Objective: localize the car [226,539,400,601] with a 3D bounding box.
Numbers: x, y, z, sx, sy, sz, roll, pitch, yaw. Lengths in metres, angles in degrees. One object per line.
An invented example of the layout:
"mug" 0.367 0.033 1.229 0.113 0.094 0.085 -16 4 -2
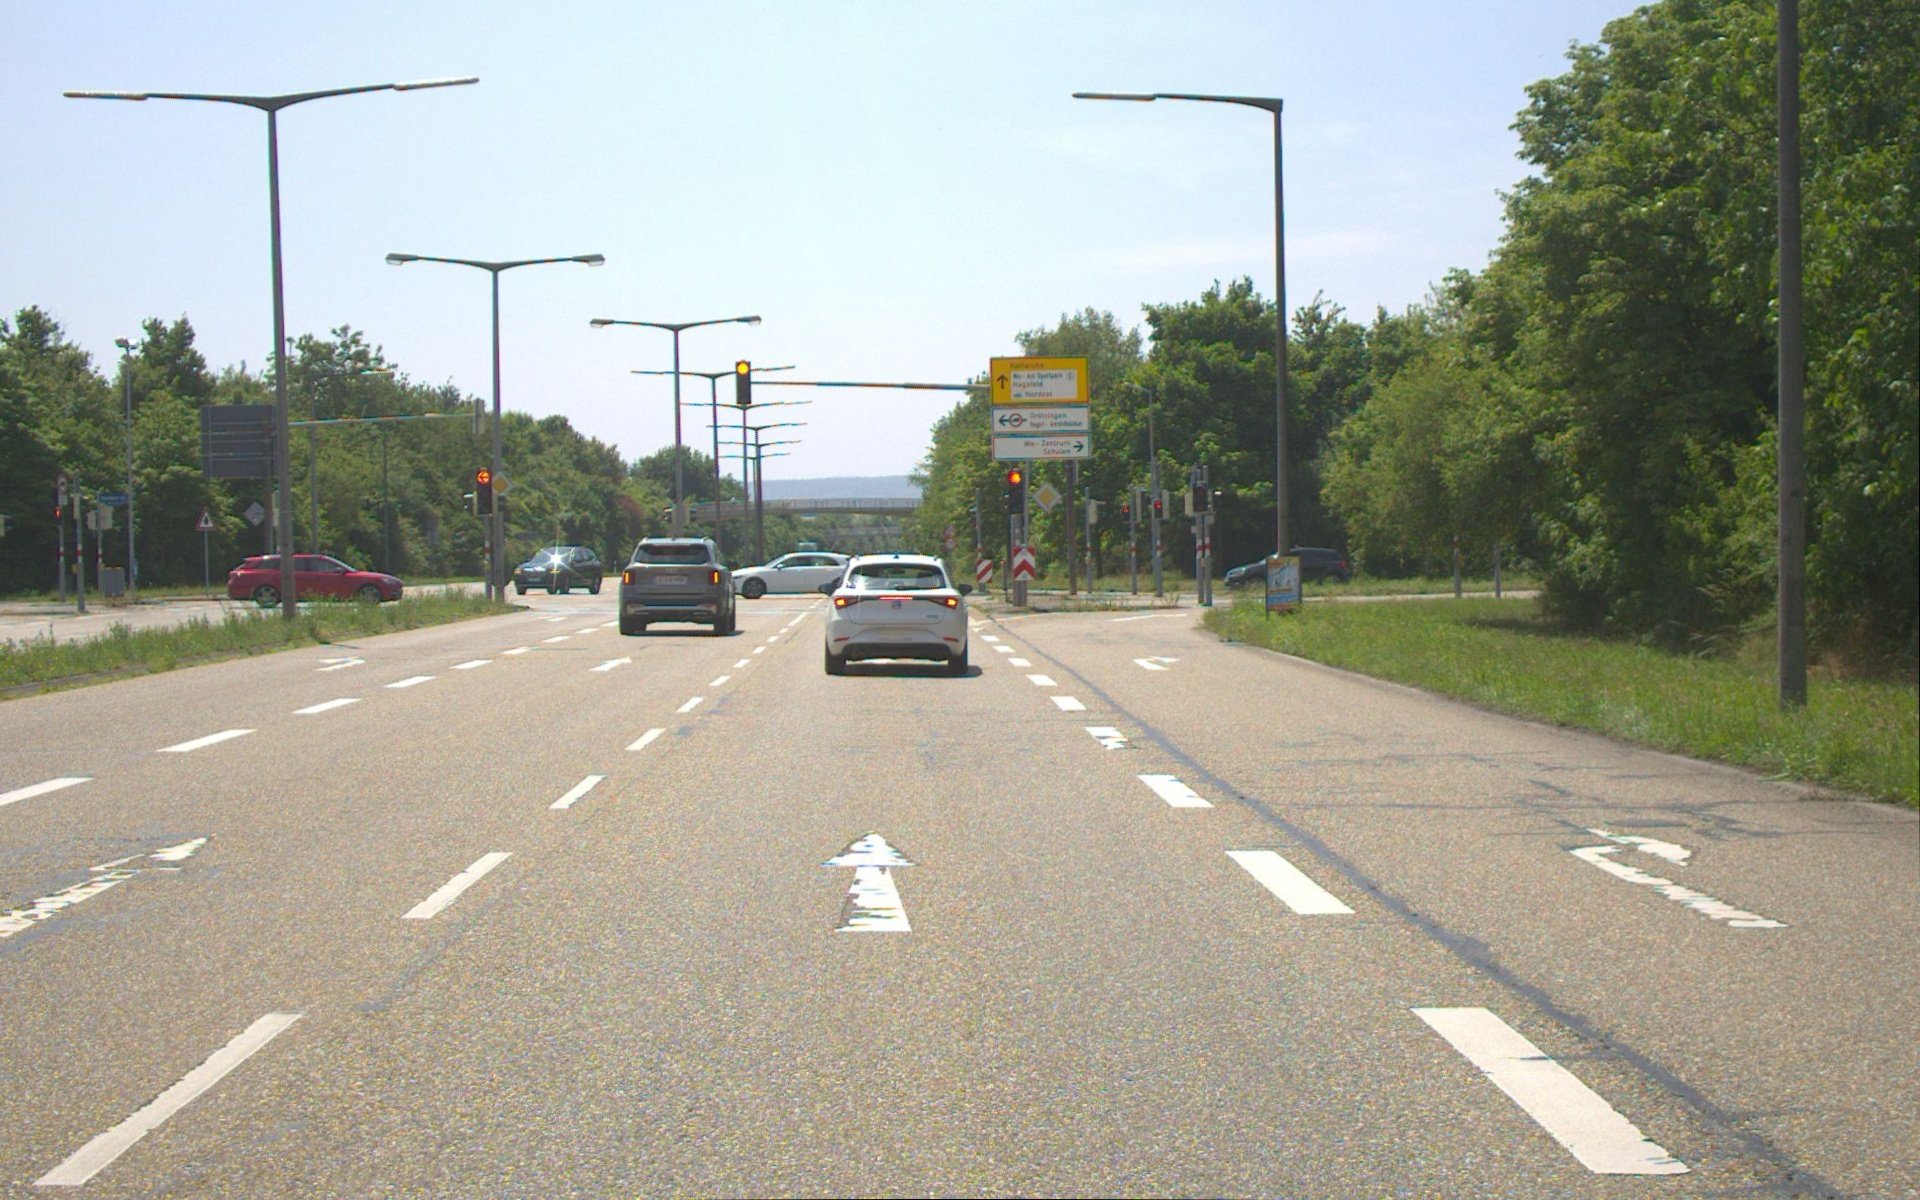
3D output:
"car" -17.324 -0.803 92.169 4.522 1.635 1.978 0 1 -10

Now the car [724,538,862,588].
"car" -5.225 -1.162 107.422 4.100 1.520 1.939 -1 1 -9

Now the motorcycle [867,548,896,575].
"motorcycle" -3.875 -1.915 170.126 1.424 1.276 2.569 -2 1 -1

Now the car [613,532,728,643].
"car" -5.120 -0.237 61.224 1.755 1.922 4.000 0 1 -1

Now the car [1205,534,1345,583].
"car" 10.009 -1.334 109.377 4.100 1.520 1.939 -1 1 -9

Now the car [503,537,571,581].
"car" -15.060 -1.459 122.460 1.828 1.514 4.000 0 1 1

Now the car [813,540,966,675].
"car" -0.849 0.065 42.728 1.797 1.577 4.000 -1 1 0
